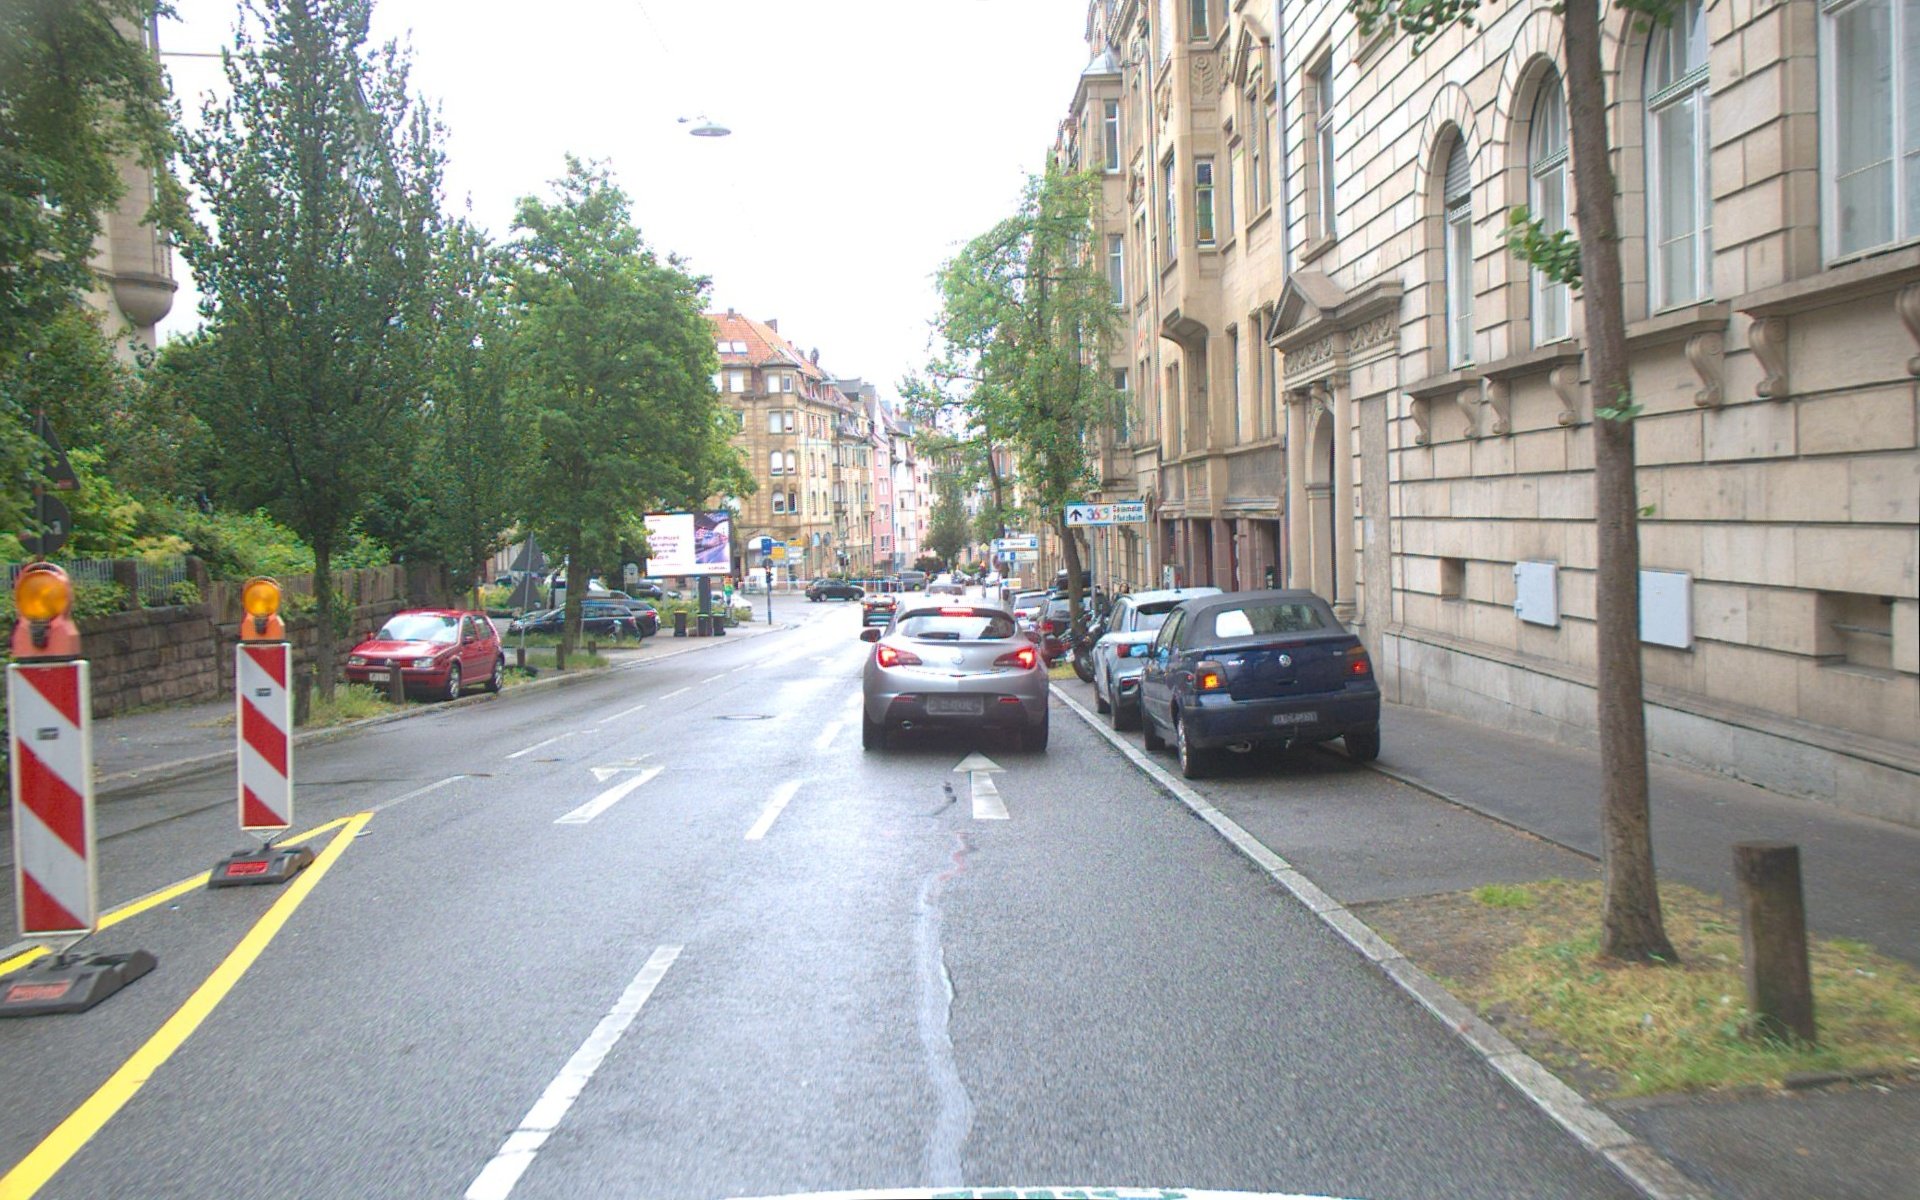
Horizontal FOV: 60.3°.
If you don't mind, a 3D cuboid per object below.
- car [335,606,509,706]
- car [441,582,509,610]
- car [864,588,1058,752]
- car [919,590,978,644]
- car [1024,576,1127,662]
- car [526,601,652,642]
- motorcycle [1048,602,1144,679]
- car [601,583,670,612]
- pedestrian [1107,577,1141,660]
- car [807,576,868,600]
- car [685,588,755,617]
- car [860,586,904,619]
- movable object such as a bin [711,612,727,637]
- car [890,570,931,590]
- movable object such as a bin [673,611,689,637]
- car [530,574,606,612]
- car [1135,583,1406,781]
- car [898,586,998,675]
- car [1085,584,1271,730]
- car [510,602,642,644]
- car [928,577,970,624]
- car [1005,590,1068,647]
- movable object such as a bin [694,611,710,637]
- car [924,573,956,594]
[{"bbox_3d":[-9.022,0.894,28.074,1.604,1.464,4.079,-2,1,-1],"label":"car"},{"bbox_3d":[-31.382,-0.279,106.999,3.902,1.780,1.754,0,-1,15],"label":"car"},{"bbox_3d":[-0.049,0.626,17.135,1.774,1.475,3.868,0,1,-2],"label":"car"},{"bbox_3d":[-0.403,0.527,53.695,1.624,1.569,3.663,-4,0,-3],"label":"car"},{"bbox_3d":[2.336,0.349,34.275,1.604,1.630,3.855,-2,1,-3],"label":"car"},{"bbox_3d":[-13.391,0.765,59.723,4.246,1.265,1.633,-2,1,-20],"label":"car"},{"bbox_3d":[2.312,0.664,27.890,0.645,1.257,1.973,0,-1,38],"label":"motorcycle"},{"bbox_3d":[-20.452,-0.140,104.179,3.902,1.780,1.754,0,-1,15],"label":"car"},{"bbox_3d":[3.781,0.424,38.096,0.701,1.903,0.635,0,-1,-1],"label":"pedestrian"},{"bbox_3d":[-8.524,-0.835,115.767,4.142,1.612,1.939,0,1,-1],"label":"car"},{"bbox_3d":[-14.931,0.169,102.970,3.902,1.780,1.754,0,-1,12],"label":"car"},{"bbox_3d":[-3.777,0.134,80.823,1.953,1.527,4.000,-1,0,-1],"label":"car"},{"bbox_3d":[-10.488,1.072,72.038,0.646,1.077,0.626,1,0,-9],"label":"movable object such as a bin"},{"bbox_3d":[-4.864,-1.969,162.856,3.906,1.780,2.000,1,0,-1],"label":"car"},{"bbox_3d":[-11.979,1.040,70.985,0.613,1.077,0.633,1,0,-7],"label":"movable object such as a bin"},{"bbox_3d":[-26.458,-0.479,111.600,4.605,2.485,2.001,0,-1,15],"label":"car"},{"bbox_3d":[2.556,0.605,14.330,1.604,1.454,3.376,-2,1,-1],"label":"car"},{"bbox_3d":[-0.271,0.513,30.765,1.736,1.530,3.868,0,1,-2],"label":"car"},{"bbox_3d":[2.459,0.585,19.442,1.604,1.494,3.857,-2,1,-1],"label":"car"},{"bbox_3d":[-13.175,0.764,56.708,4.246,1.265,1.633,-2,1,-20],"label":"car"},{"bbox_3d":[-0.431,0.011,65.454,1.623,1.813,3.665,-1,0,-1],"label":"car"},{"bbox_3d":[2.243,0.507,49.035,1.604,1.551,3.857,-2,1,-1],"label":"car"},{"bbox_3d":[-11.049,1.026,70.930,0.613,1.077,0.719,1,0,-7],"label":"movable object such as a bin"},{"bbox_3d":[-1.618,-1.367,137.613,1.951,1.713,4.003,1,0,9],"label":"car"}]
